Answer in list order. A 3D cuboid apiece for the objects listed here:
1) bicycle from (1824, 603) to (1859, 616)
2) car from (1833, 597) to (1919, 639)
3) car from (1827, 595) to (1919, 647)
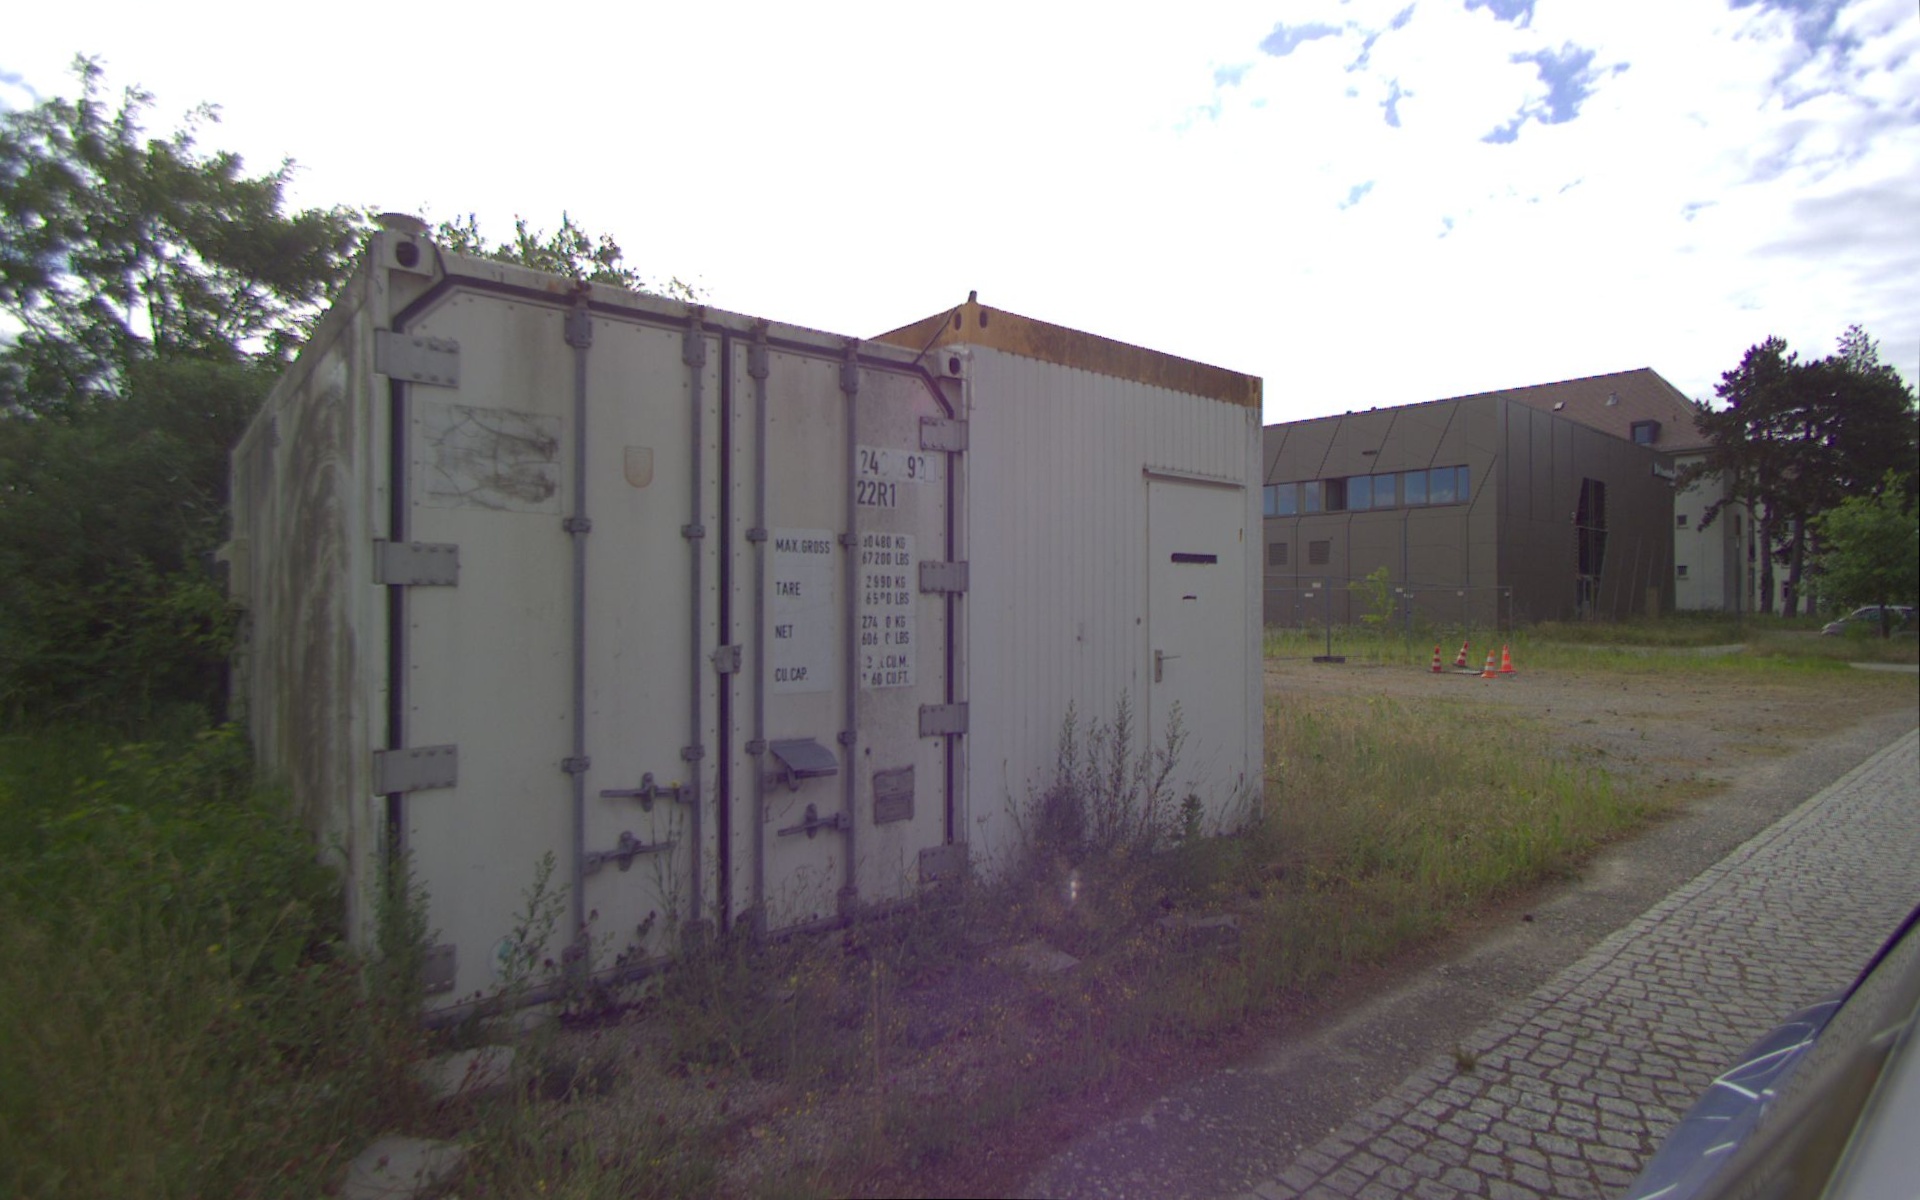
[{"bbox_3d":[72.815,0.774,83.614,0.705,1.109,2.160,0,-1,-44],"label":"bicycle"},{"bbox_3d":[36.205,0.695,38.360,1.899,1.468,4.531,0,2,-42],"label":"car"},{"bbox_3d":[30.756,0.685,33.609,1.653,1.602,2.747,0,2,-40],"label":"car"}]
